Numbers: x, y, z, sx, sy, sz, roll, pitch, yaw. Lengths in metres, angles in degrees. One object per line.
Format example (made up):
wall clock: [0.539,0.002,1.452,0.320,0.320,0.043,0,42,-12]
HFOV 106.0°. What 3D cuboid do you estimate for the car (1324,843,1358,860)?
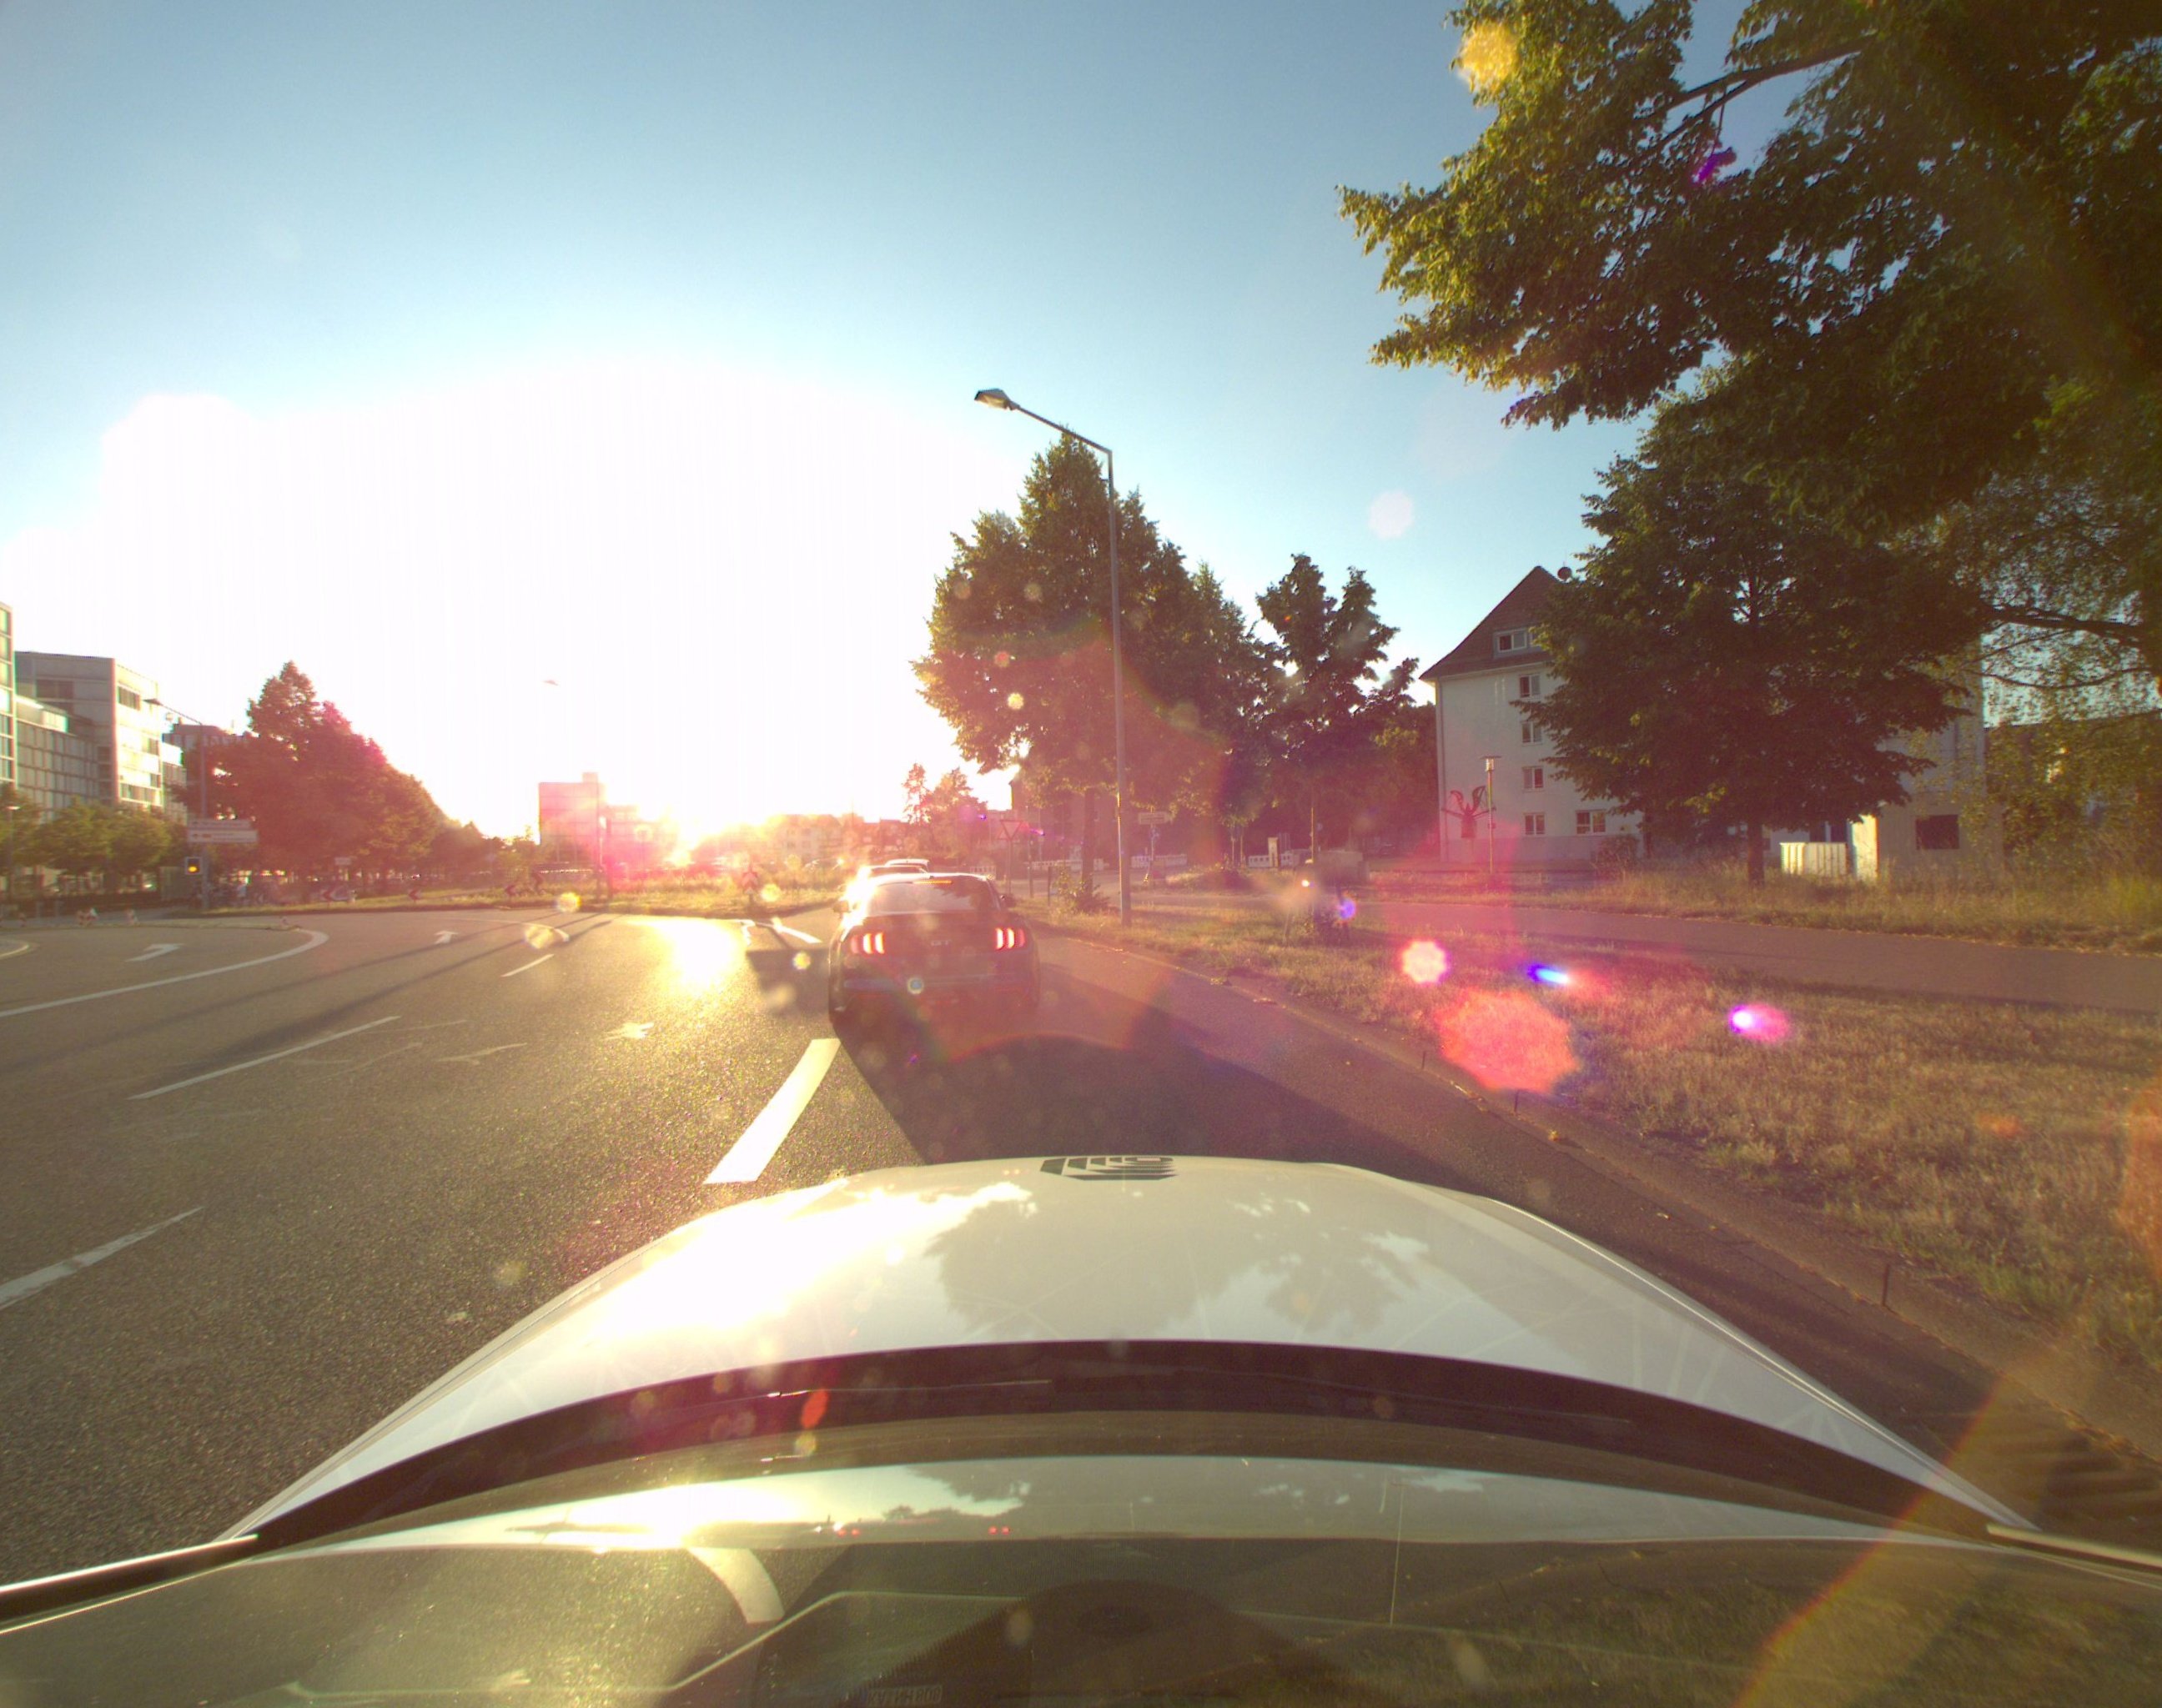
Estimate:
car: [25.323,-0.217,79.237,1.932,1.602,4.103,-1,0,35]

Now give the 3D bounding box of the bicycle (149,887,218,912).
bicycle: [-48.002,2.429,43.572,2.407,1.167,0.750,-2,0,-17]

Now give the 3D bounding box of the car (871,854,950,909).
car: [-5.497,0.826,26.745,1.947,1.602,4.072,-2,0,-4]

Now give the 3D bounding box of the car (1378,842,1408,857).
car: [34.949,-0.524,91.169,1.932,1.602,4.103,-1,0,38]

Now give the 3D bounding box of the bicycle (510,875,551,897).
bicycle: [-30.714,1.780,45.452,2.379,1.167,0.759,-2,0,25]

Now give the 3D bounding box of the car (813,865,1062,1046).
car: [-1.661,0.817,8.813,1.954,1.342,4.648,-1,0,-14]

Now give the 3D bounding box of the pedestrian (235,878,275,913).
pedestrian: [-45.086,2.276,44.458,1.159,1.827,0.976,-2,0,-12]

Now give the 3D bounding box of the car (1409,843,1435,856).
car: [43.046,-0.555,102.711,1.932,1.602,4.103,-1,0,38]

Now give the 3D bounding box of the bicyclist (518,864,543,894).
bicyclist: [-30.708,1.388,45.438,0.966,1.612,0.759,-2,0,26]

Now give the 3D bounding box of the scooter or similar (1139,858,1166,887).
scooter or similar: [3.210,0.822,36.478,1.122,1.238,0.440,-1,0,-15]

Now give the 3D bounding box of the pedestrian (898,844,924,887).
pedestrian: [-6.994,0.470,33.531,0.847,1.686,0.880,-2,0,-25]

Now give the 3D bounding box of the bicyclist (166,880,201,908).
bicyclist: [-47.992,2.140,43.560,0.977,1.394,0.750,-2,0,-17]

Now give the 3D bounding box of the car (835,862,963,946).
car: [-3.884,0.917,16.766,1.958,1.427,4.399,1,0,-21]

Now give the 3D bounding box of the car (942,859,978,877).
car: [-12.217,1.441,82.257,2.009,1.706,3.956,-2,0,-36]
